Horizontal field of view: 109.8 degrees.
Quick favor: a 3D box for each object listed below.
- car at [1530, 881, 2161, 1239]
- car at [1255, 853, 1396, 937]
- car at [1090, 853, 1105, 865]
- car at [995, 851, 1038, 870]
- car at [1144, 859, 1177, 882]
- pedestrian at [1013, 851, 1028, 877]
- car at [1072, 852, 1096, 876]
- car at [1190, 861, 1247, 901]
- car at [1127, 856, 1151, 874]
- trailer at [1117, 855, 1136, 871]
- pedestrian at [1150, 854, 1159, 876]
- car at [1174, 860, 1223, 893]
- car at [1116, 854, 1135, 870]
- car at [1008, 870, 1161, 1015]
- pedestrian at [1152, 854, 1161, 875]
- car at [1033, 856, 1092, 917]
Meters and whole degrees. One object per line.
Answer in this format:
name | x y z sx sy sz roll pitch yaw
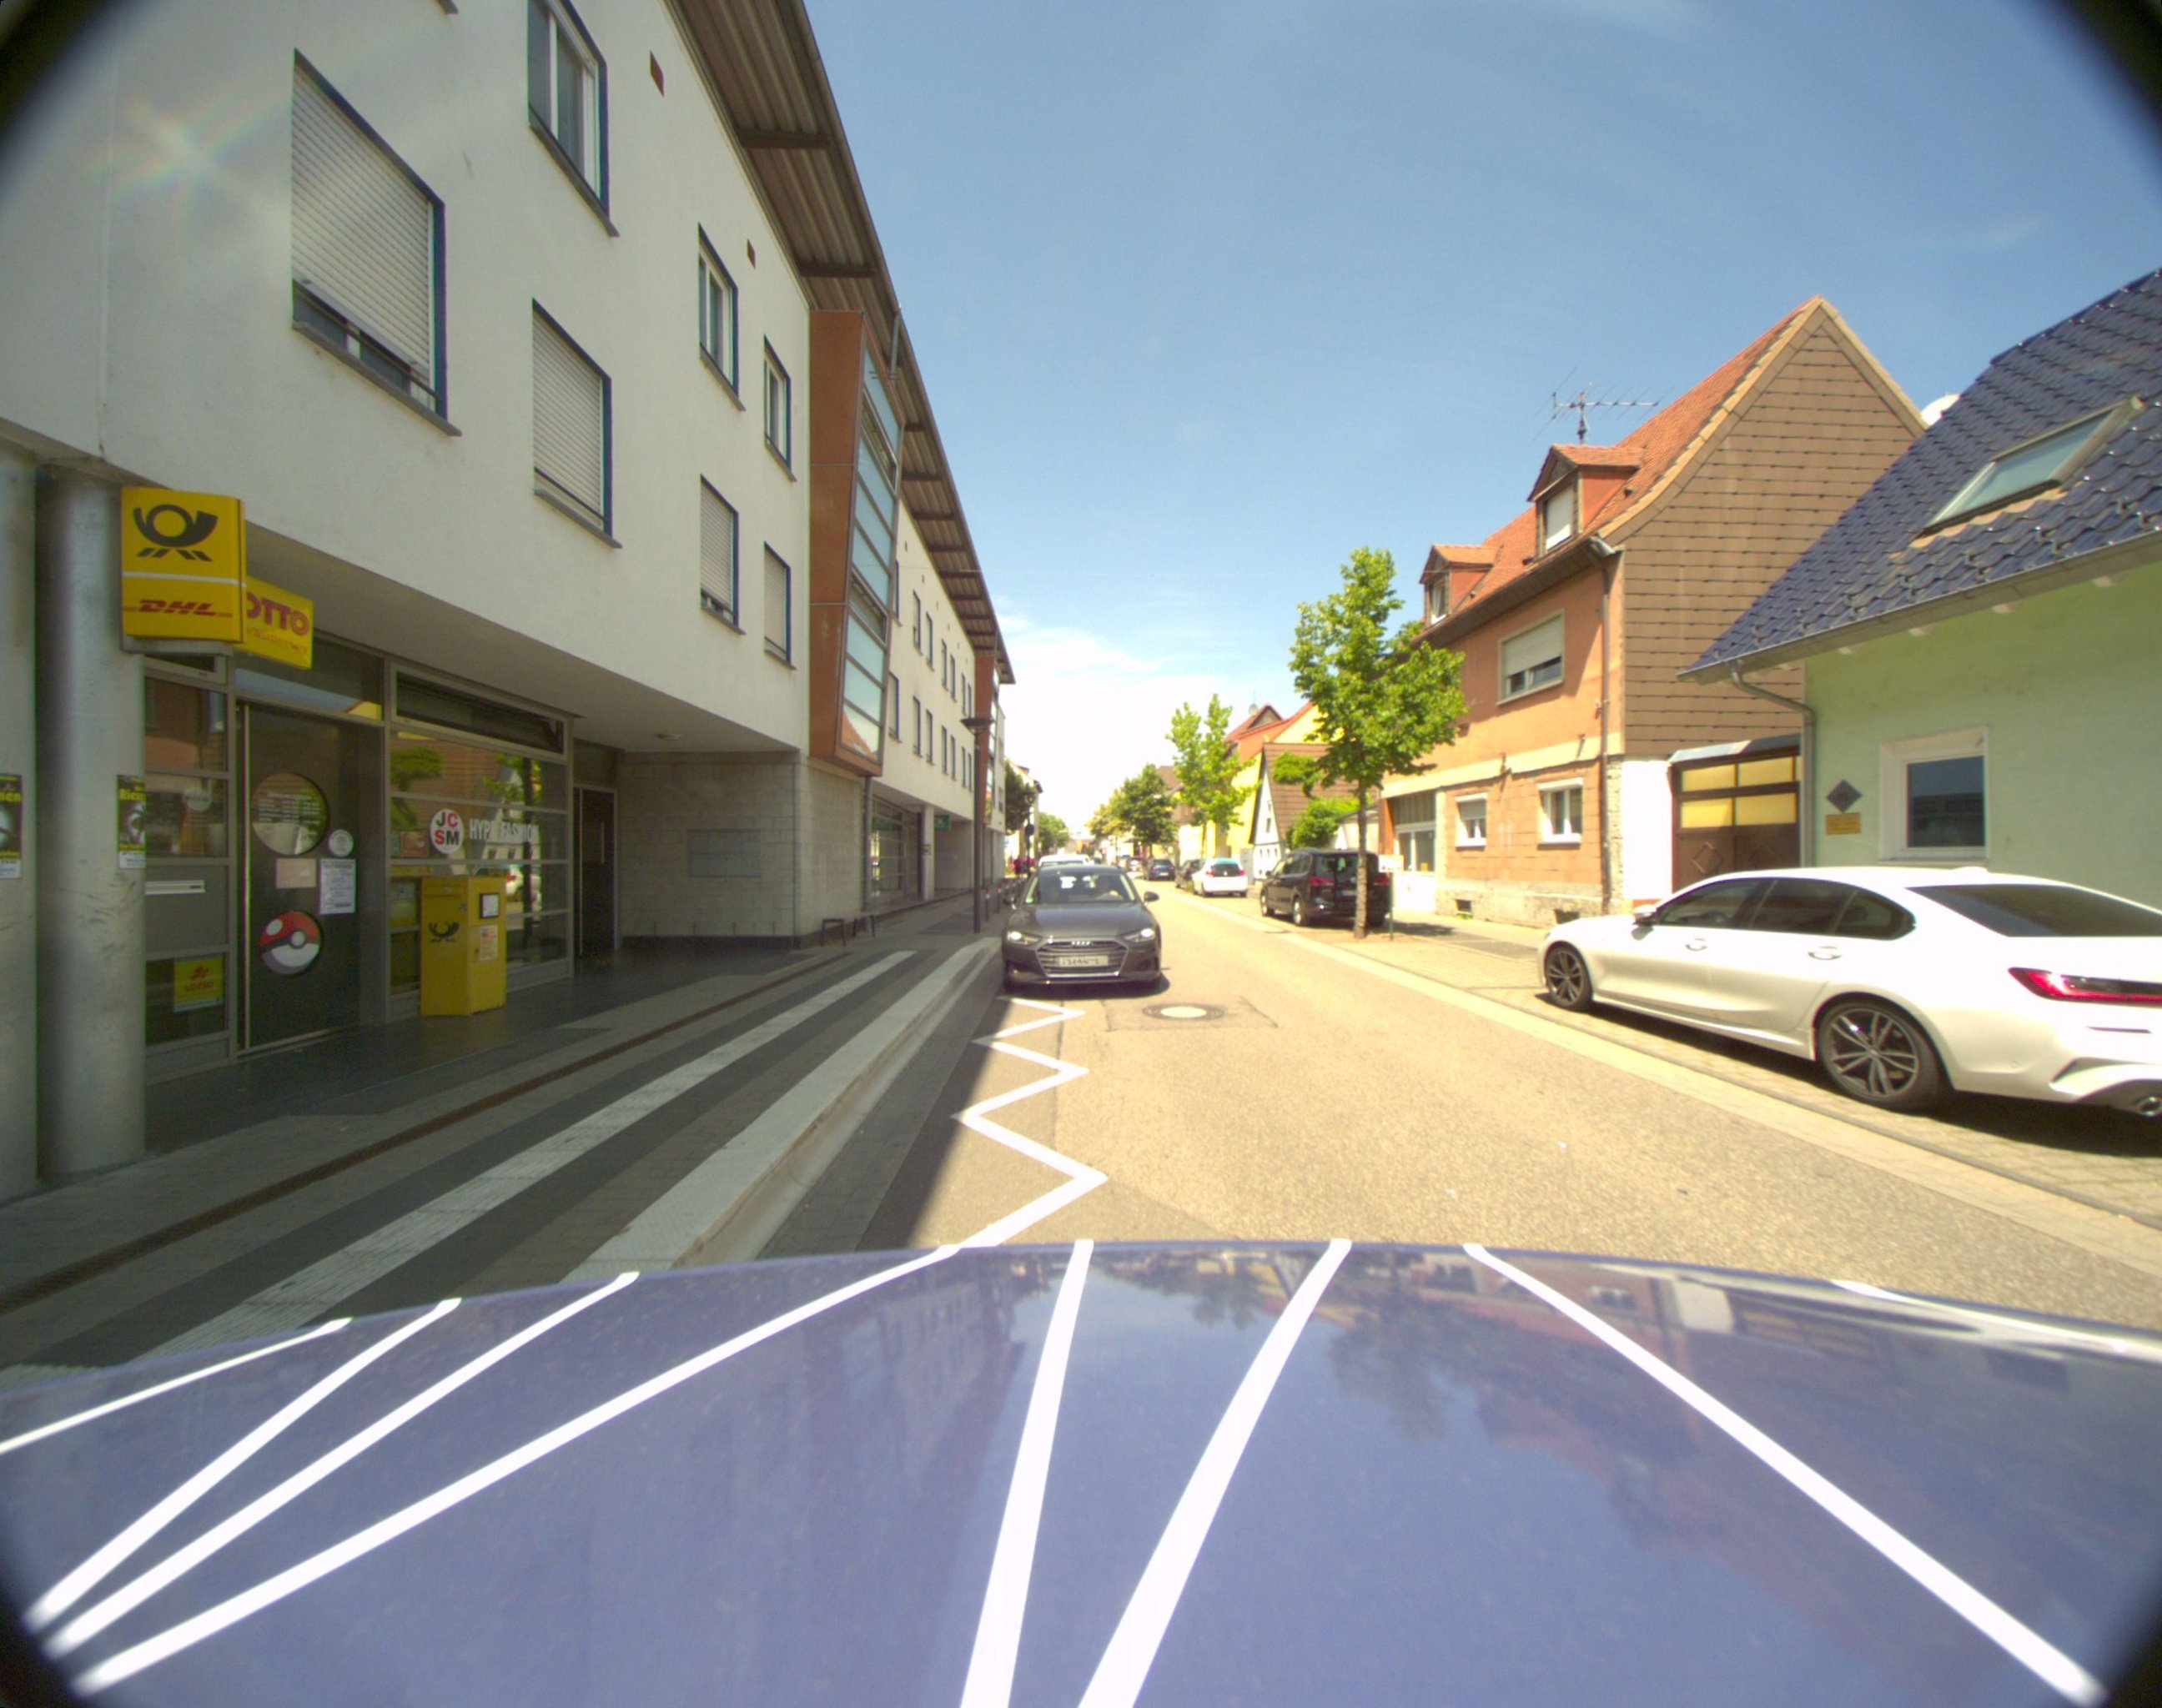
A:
car | 5.545 1.005 5.648 1.724 1.428 4.459 -1 0 -1
car | 5.507 0.845 17.761 1.780 1.716 4.519 0 0 -1
car | 2.174 0.696 99.158 1.693 1.464 3.999 3 0 -1
car | -6.474 0.617 76.906 4.204 1.849 2.000 1 0 -1
car | 5.045 1.038 48.696 1.660 1.399 4.157 0 0 0
pedestrian | -3.889 0.640 48.903 0.826 1.579 0.919 3 0 0
car | 0.207 0.664 52.768 1.581 1.620 4.064 0 0 -1
car | 5.282 1.007 29.518 1.558 1.422 3.409 0 0 0
car | 5.178 0.933 68.109 1.753 1.566 4.157 0 0 0
trailer | 4.795 0.910 80.497 1.493 1.571 3.882 -3 0 -3
pedestrian | 5.448 0.826 56.556 0.631 1.592 0.528 0 0 0
car | 5.457 1.026 35.730 1.649 1.422 4.098 1 0 0
car | 4.899 0.886 84.846 1.695 1.742 3.999 -2 0 -2
car | 0.007 0.964 9.932 1.581 1.424 4.064 0 0 -1
pedestrian | 5.738 0.803 57.551 0.631 1.592 0.528 0 0 0
car | -0.525 0.893 22.526 1.581 1.620 4.064 0 0 -1
